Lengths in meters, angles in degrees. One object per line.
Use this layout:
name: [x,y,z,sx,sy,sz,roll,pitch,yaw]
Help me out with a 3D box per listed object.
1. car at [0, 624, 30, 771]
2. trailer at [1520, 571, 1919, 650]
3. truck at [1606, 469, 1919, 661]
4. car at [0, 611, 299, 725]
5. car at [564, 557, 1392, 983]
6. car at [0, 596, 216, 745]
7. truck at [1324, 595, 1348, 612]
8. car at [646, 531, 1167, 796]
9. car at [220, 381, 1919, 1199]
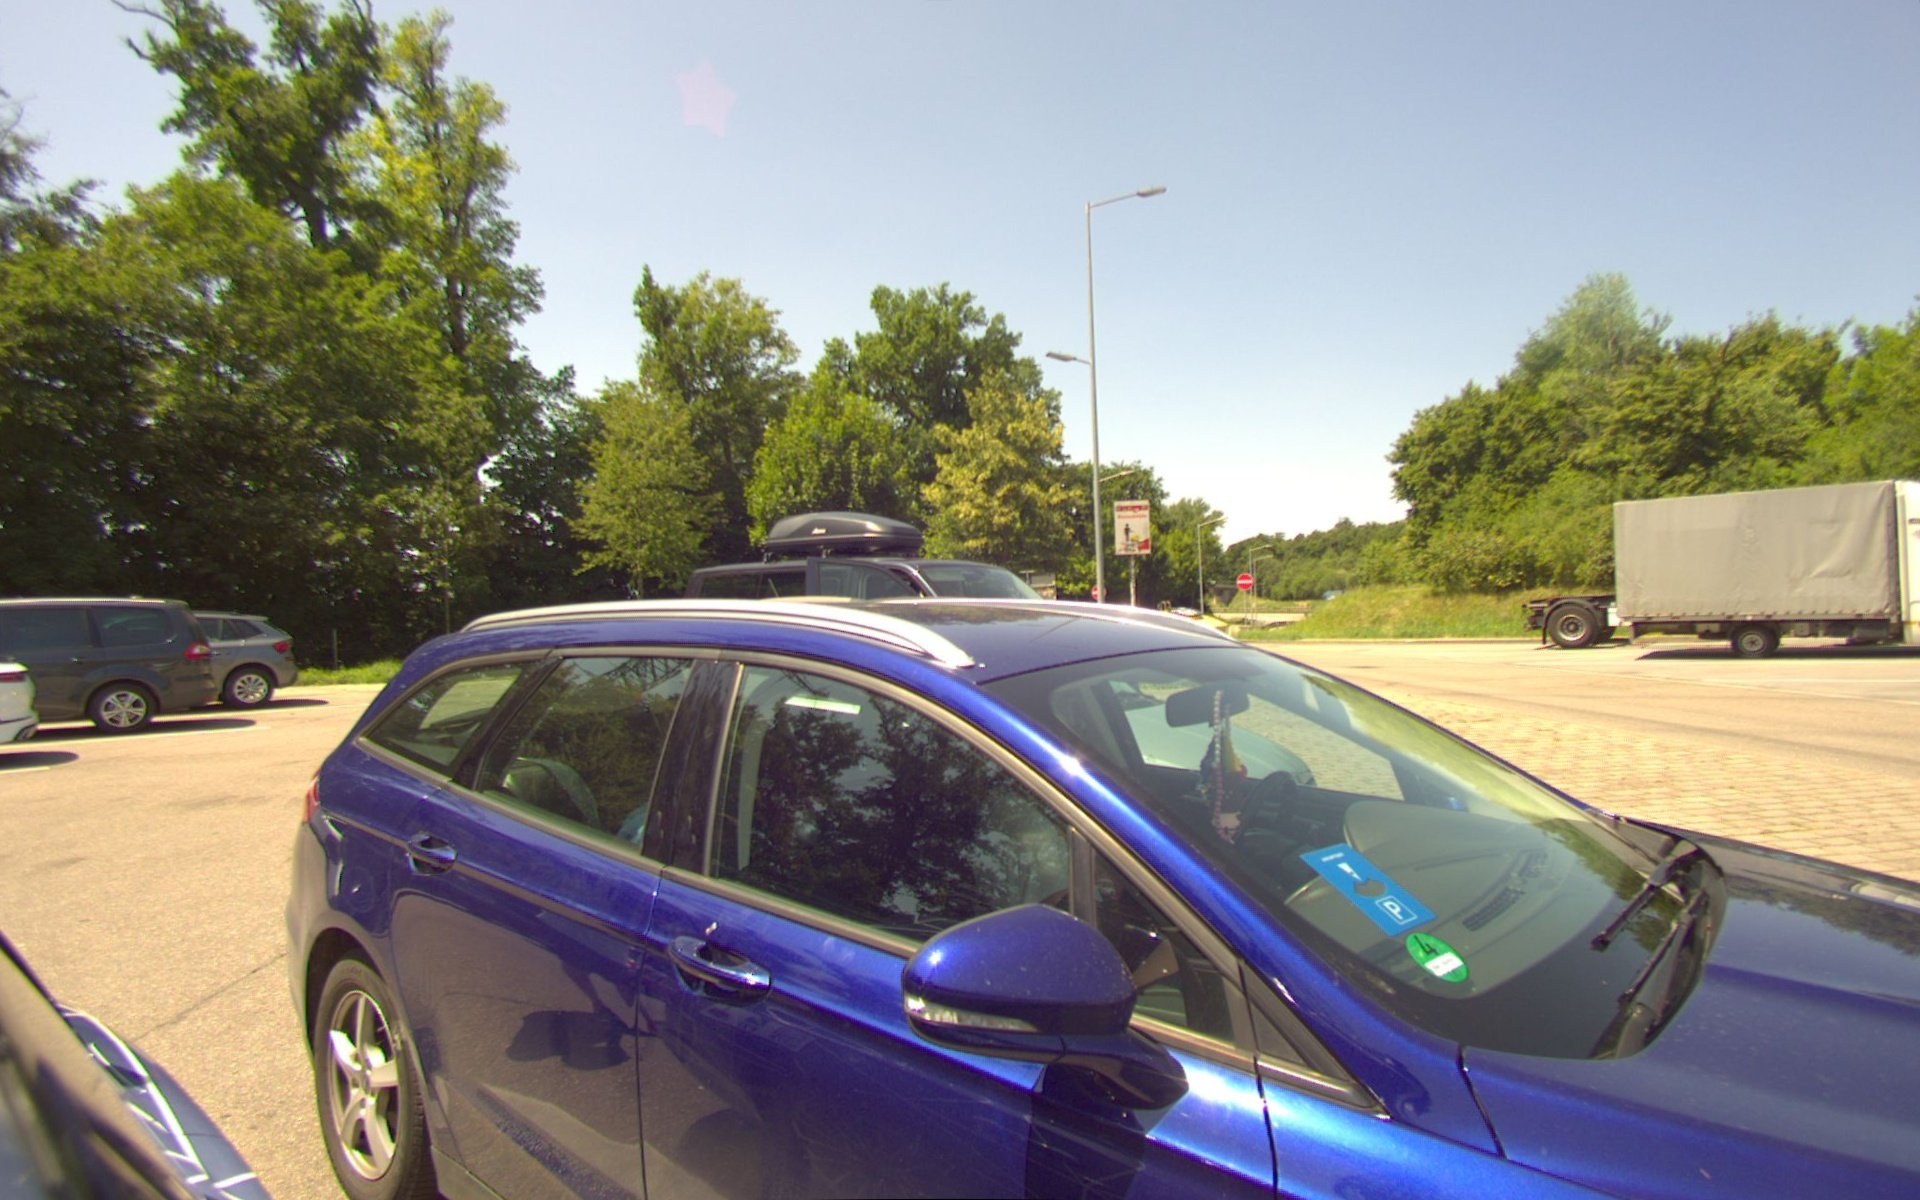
car: [-10.997,0.949,9.178,3.767,1.396,1.722,0,-1,-43]
trailer: [17.634,0.282,23.174,8.088,1.385,2.200,-4,-1,41]
truck: [16.704,-0.628,18.952,7.337,3.235,2.502,-4,-1,41]
car: [-12.595,0.972,15.723,3.762,1.551,1.724,0,-1,-38]
car: [-0.217,0.675,5.805,4.637,1.545,1.720,-3,0,39]
car: [-11.656,0.838,12.642,3.762,1.737,1.724,0,-1,-38]
truck: [70.836,0.705,190.851,1.974,3.110,7.521,-1,0,3]
car: [-0.661,0.512,9.378,4.635,1.884,1.937,-3,0,37]
car: [0.245,0.639,2.093,4.637,1.493,1.720,-3,-1,39]
